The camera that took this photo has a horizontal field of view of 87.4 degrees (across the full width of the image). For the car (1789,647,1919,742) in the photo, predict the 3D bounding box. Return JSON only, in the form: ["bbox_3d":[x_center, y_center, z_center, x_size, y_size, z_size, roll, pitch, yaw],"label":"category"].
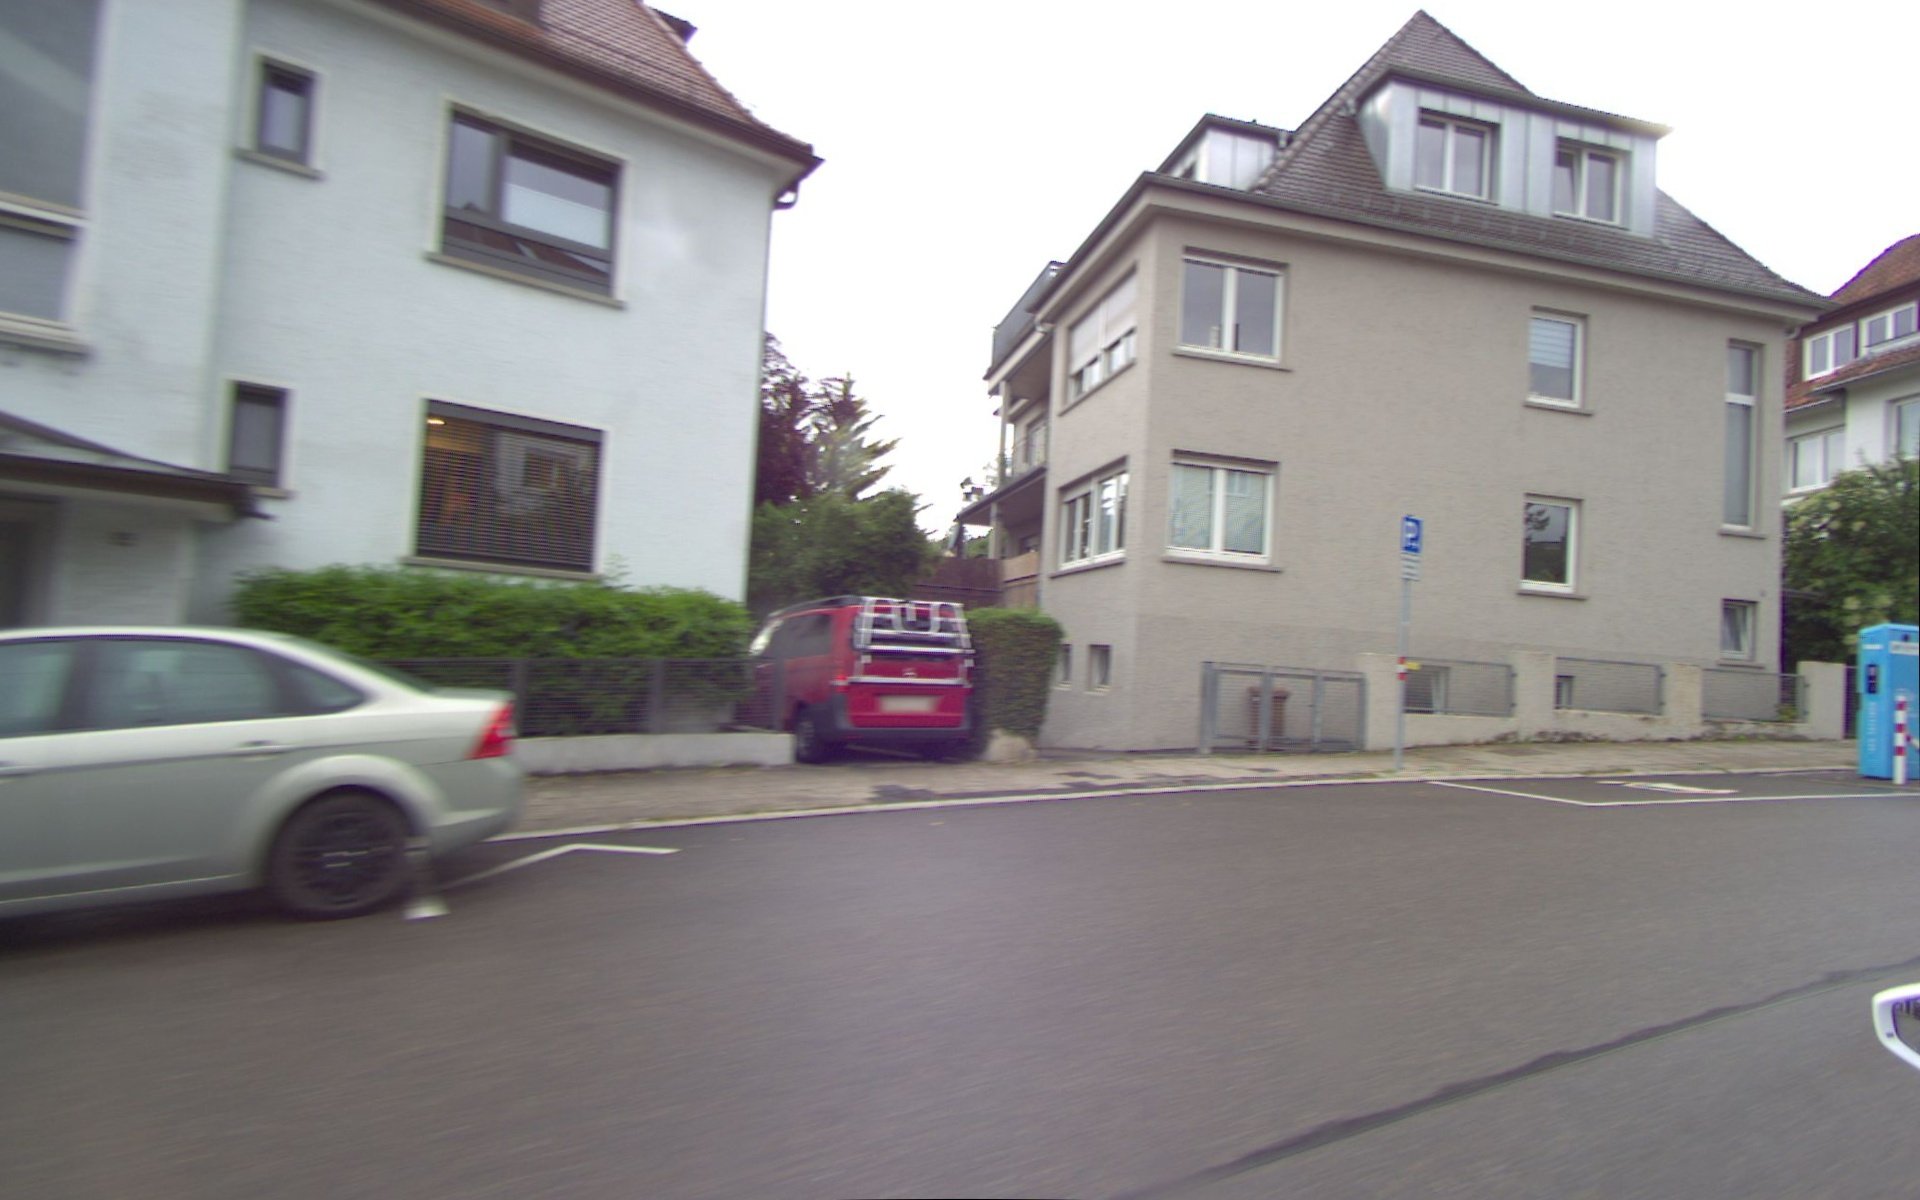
[{"bbox_3d":[18.213,1.761,18.589,1.961,1.643,4.258,1,-9,-3],"label":"car"}]

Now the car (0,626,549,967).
[{"bbox_3d":[-4.512,0.861,5.096,4.189,1.444,1.823,2,-2,-36],"label":"car"}]

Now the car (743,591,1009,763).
[{"bbox_3d":[-1.263,1.004,13.069,1.976,1.846,3.971,1,-5,-29],"label":"car"}]
